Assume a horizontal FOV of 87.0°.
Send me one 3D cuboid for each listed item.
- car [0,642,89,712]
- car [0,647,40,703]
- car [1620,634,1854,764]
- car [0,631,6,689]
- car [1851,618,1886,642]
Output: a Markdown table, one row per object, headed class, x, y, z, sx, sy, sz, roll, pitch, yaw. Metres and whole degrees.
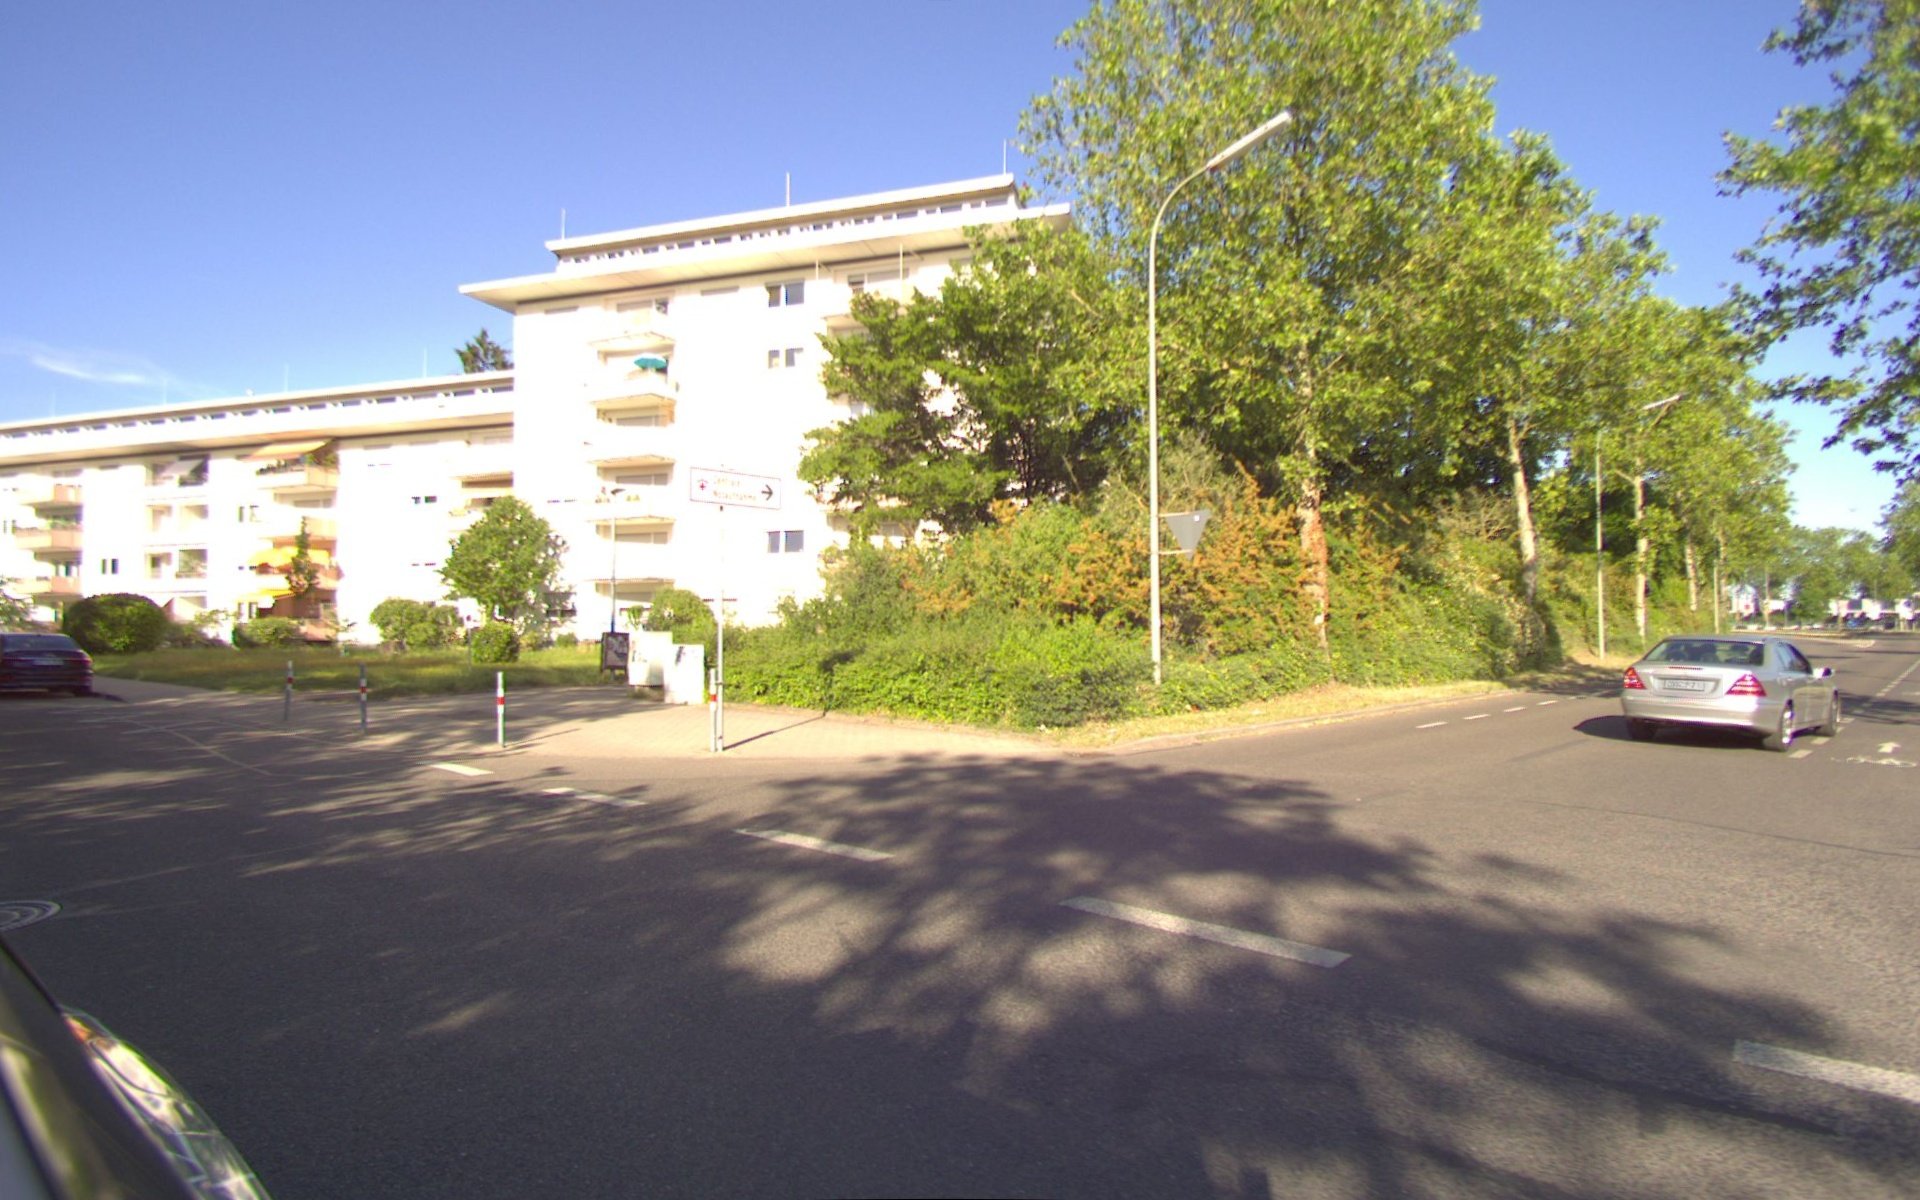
| class | x | y | z | sx | sy | sz | roll | pitch | yaw |
| --- | --- | --- | --- | --- | --- | --- | --- | --- | --- |
| car | -21.931 | 1.740 | 23.523 | 4.676 | 1.475 | 1.711 | -2 | -3 | 39 |
| car | -26.923 | 2.021 | 27.889 | 4.015 | 1.465 | 1.821 | -2 | -3 | 41 |
| car | 10.439 | 1.193 | 13.502 | 3.938 | 1.464 | 1.745 | 2 | -2 | -42 |
| car | -31.974 | 1.874 | 32.062 | 4.882 | 1.794 | 1.822 | -1 | -3 | 39 |
| car | 64.866 | 2.132 | 72.267 | 1.788 | 1.559 | 3.944 | -1 | 0 | 42 |
